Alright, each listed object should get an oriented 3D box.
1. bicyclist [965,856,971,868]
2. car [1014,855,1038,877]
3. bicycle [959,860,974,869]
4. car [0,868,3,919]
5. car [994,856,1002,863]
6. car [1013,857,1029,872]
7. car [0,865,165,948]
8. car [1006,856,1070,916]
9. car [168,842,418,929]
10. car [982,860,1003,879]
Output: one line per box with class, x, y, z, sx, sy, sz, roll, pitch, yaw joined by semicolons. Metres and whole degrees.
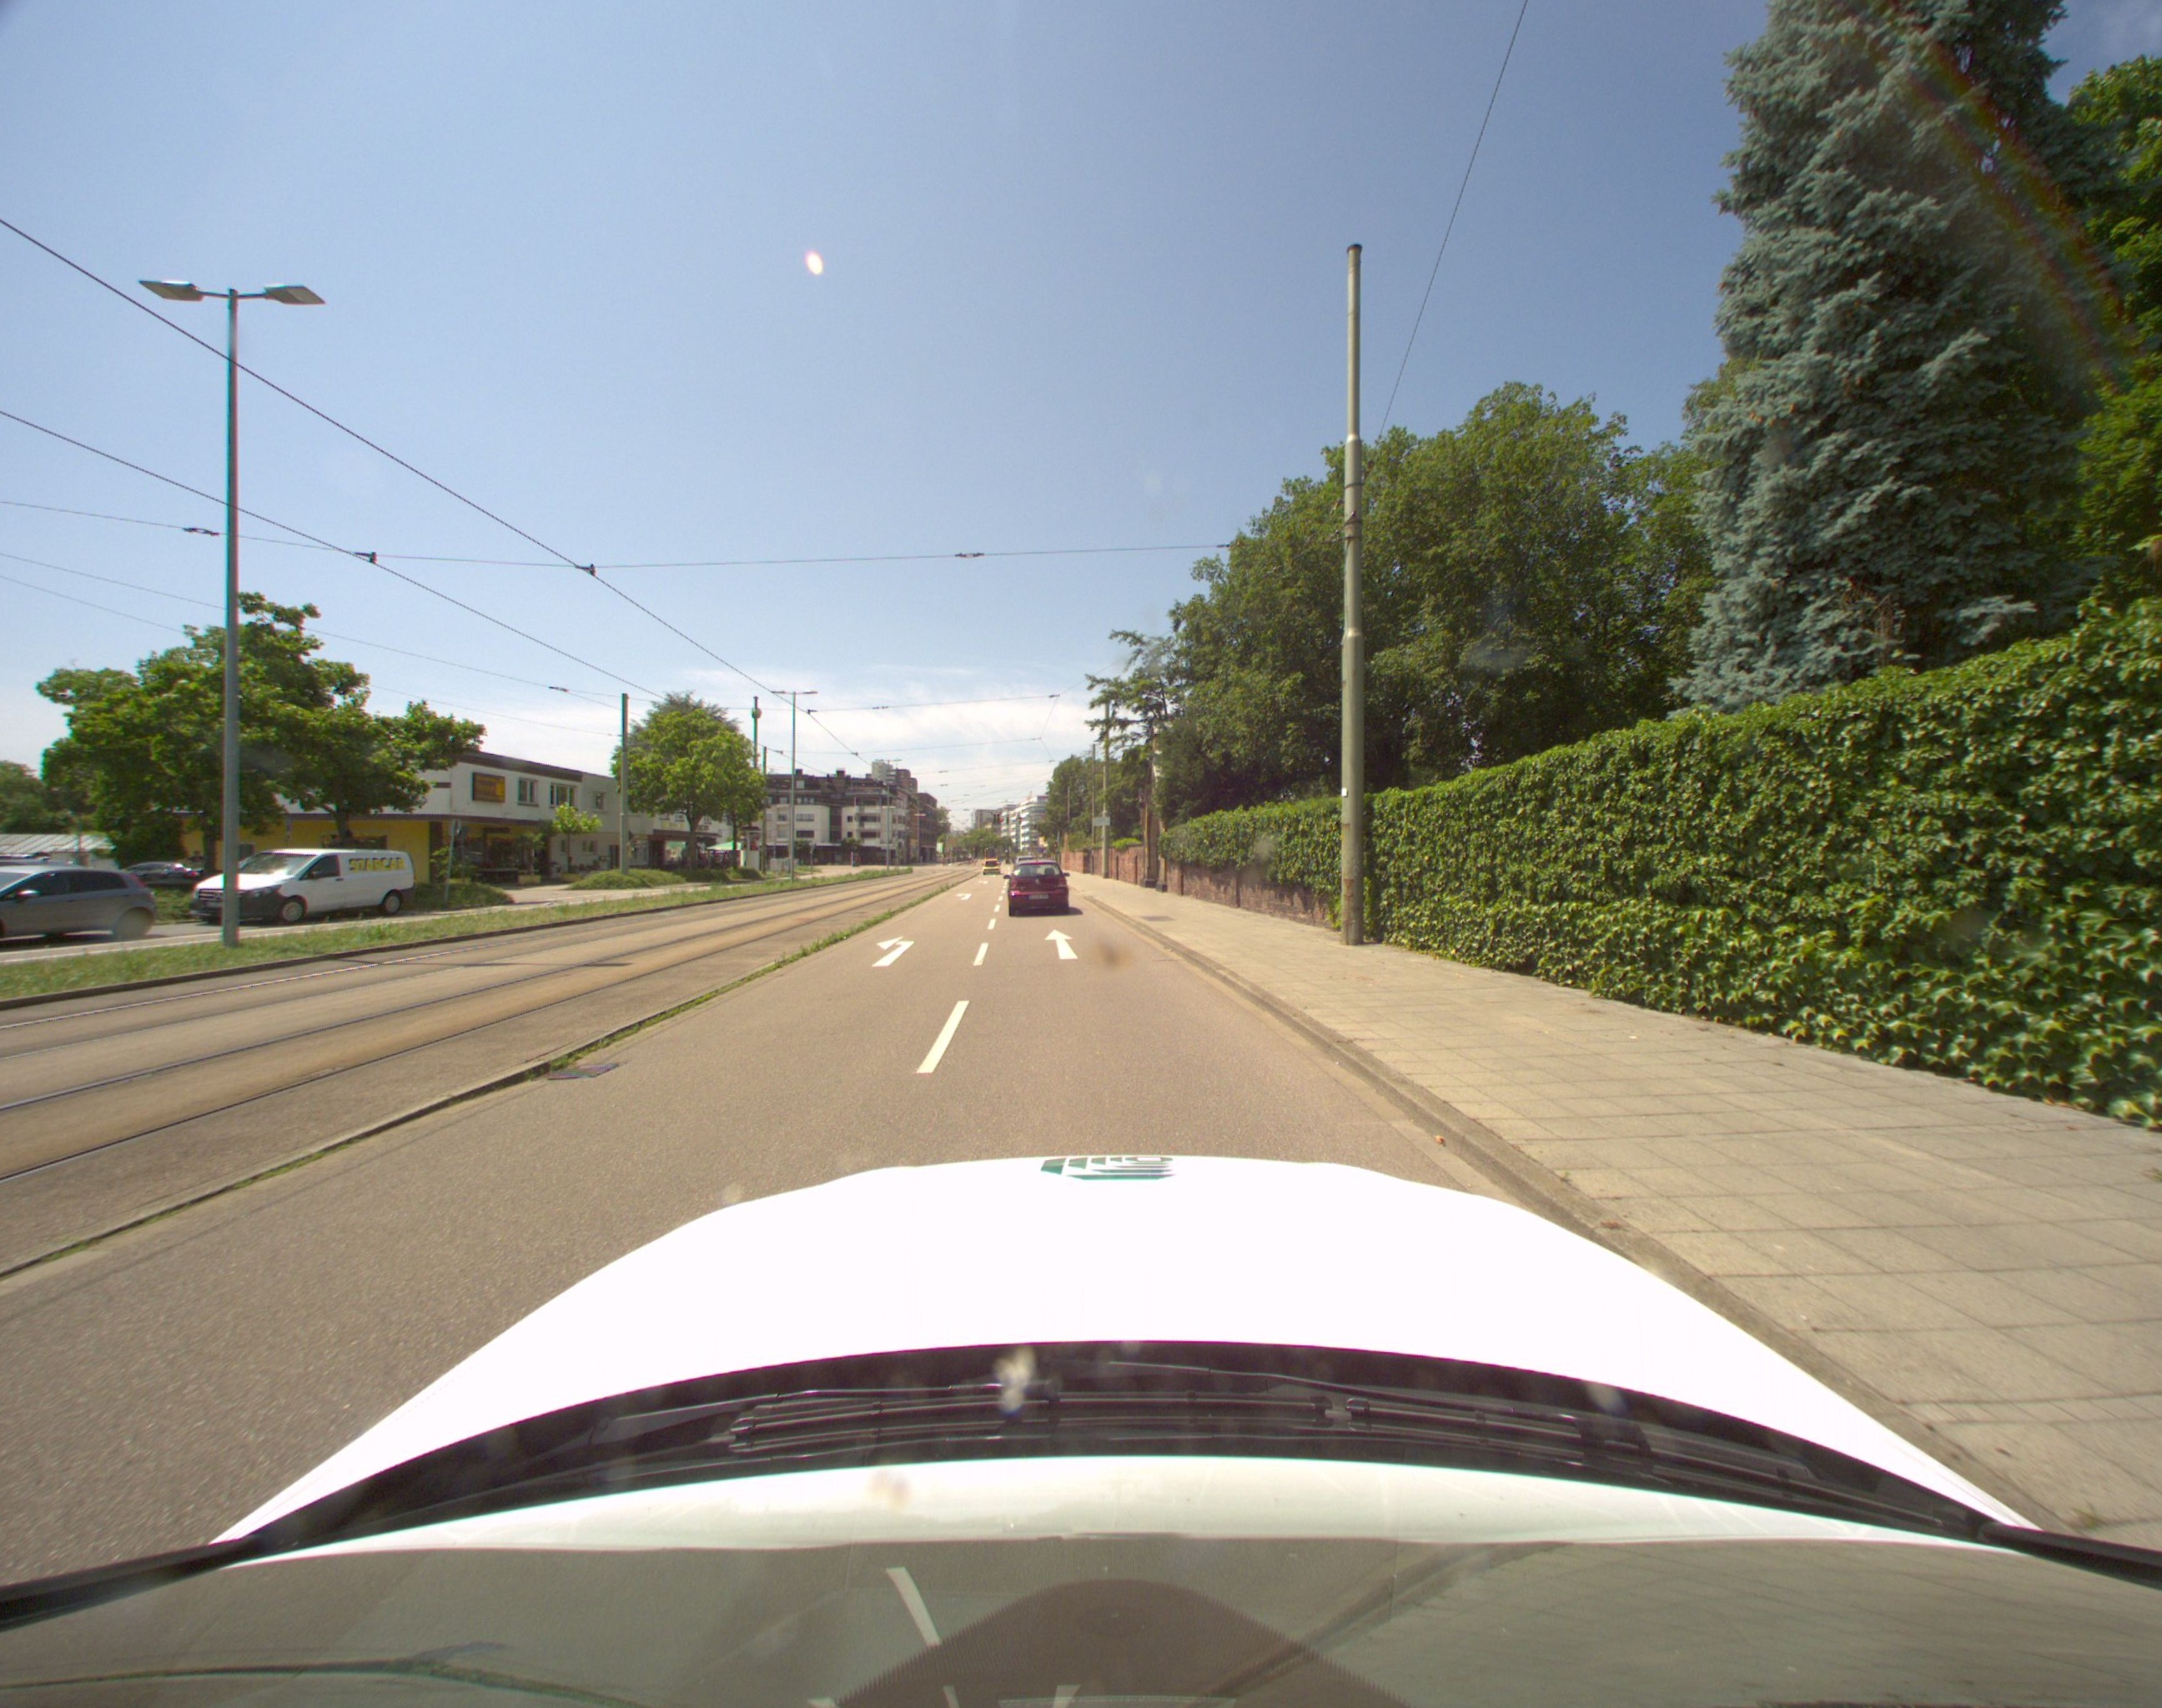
bicyclist;-19.492;1.439;140.763;0.959;2.091;0.847;0;0;-18
car;-4.424;0.958;65.079;1.792;1.683;3.994;1;0;-4
bicycle;-19.734;1.775;140.666;2.516;1.419;0.633;-1;0;-18
car;-32.076;1.108;21.796;3.858;1.430;1.642;0;0;-7
car;-14.674;1.022;143.944;1.351;1.252;2.967;1;0;-4
car;-6.881;1.206;93.874;1.770;1.630;3.995;1;0;-3
car;-20.436;0.967;15.503;1.627;1.420;3.863;2;0;-2
car;-1.240;0.839;22.835;1.606;1.498;3.994;-1;0;-4
car;-20.944;0.764;22.068;1.872;1.965;5.156;3;0;-5
car;-8.469;1.469;77.890;1.792;1.683;3.994;1;0;-4
